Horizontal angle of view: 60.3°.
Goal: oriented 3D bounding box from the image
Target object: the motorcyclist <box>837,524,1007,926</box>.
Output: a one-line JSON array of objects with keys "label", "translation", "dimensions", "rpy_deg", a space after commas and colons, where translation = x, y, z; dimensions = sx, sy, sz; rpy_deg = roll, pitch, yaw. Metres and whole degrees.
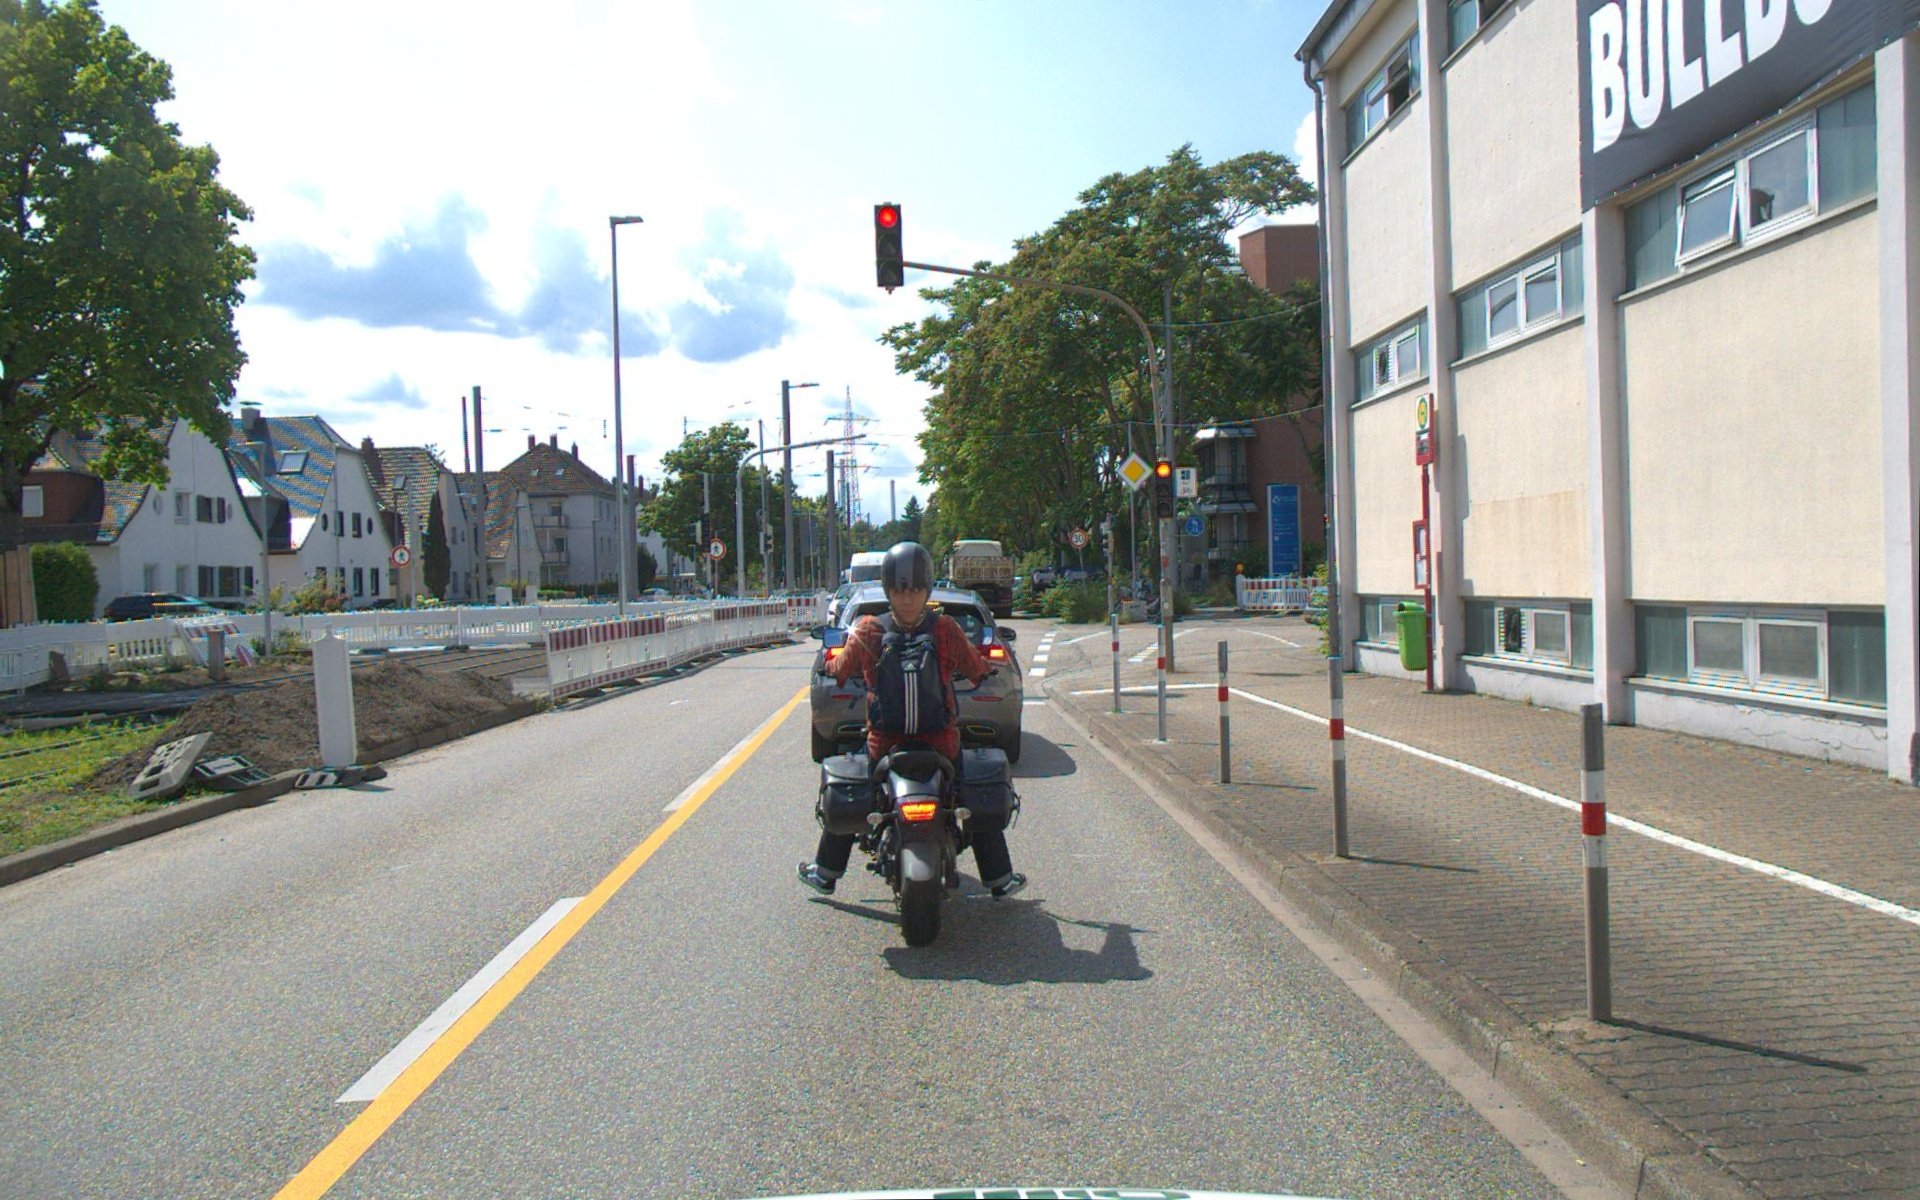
[{"label": "motorcyclist", "translation": [-0.162, 0.508, 7.070], "dimensions": [0.684, 1.632, 0.692], "rpy_deg": [0, 0, -1]}]

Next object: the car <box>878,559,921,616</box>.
[{"label": "car", "translation": [-2.371, -0.477, 65.252], "dimensions": [1.556, 2.180, 3.626], "rpy_deg": [0, 0, 0]}]

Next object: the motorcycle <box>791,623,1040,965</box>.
[{"label": "motorcycle", "translation": [-0.191, 0.746, 7.439], "dimensions": [0.923, 1.221, 2.472], "rpy_deg": [0, 1, -1]}]

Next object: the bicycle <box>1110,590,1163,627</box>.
[{"label": "bicycle", "translation": [5.723, 0.262, 53.630], "dimensions": [1.672, 1.192, 0.438], "rpy_deg": [0, 0, 4]}]

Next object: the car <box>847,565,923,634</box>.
[{"label": "car", "translation": [-1.743, -0.045, 39.658], "dimensions": [1.611, 1.524, 4.269], "rpy_deg": [-1, 1, 0]}]

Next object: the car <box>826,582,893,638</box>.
[{"label": "car", "translation": [-2.840, 0.269, 47.526], "dimensions": [1.709, 1.462, 4.082], "rpy_deg": [-2, 0, -1]}]

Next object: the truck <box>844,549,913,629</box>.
[{"label": "truck", "translation": [-2.757, -0.454, 57.206], "dimensions": [2.050, 2.519, 5.196], "rpy_deg": [-3, 2, 0]}]

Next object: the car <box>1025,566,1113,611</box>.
[{"label": "car", "translation": [4.882, -0.489, 73.708], "dimensions": [1.772, 1.959, 3.973], "rpy_deg": [0, 0, 44]}]

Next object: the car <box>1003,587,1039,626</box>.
[{"label": "car", "translation": [3.199, 0.344, 87.915], "dimensions": [1.722, 2.049, 3.999], "rpy_deg": [0, 0, -1]}]

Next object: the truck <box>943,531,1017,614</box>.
[{"label": "truck", "translation": [0.872, -1.067, 68.799], "dimensions": [2.906, 3.228, 7.765], "rpy_deg": [0, 0, 1]}]

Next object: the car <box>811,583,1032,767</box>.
[{"label": "car", "translation": [-0.478, 0.576, 15.019], "dimensions": [1.698, 1.428, 4.081], "rpy_deg": [1, 0, -6]}]

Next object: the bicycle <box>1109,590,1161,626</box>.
[{"label": "bicycle", "translation": [5.711, 0.263, 54.141], "dimensions": [1.672, 1.192, 0.438], "rpy_deg": [0, 0, 4]}]

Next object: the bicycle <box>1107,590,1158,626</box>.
[{"label": "bicycle", "translation": [5.708, 0.264, 54.868], "dimensions": [1.672, 1.192, 0.438], "rpy_deg": [0, 0, 4]}]

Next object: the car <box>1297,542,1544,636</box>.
[{"label": "car", "translation": [9.322, -0.234, 33.818], "dimensions": [4.603, 1.742, 1.909], "rpy_deg": [-2, 2, 7]}]
